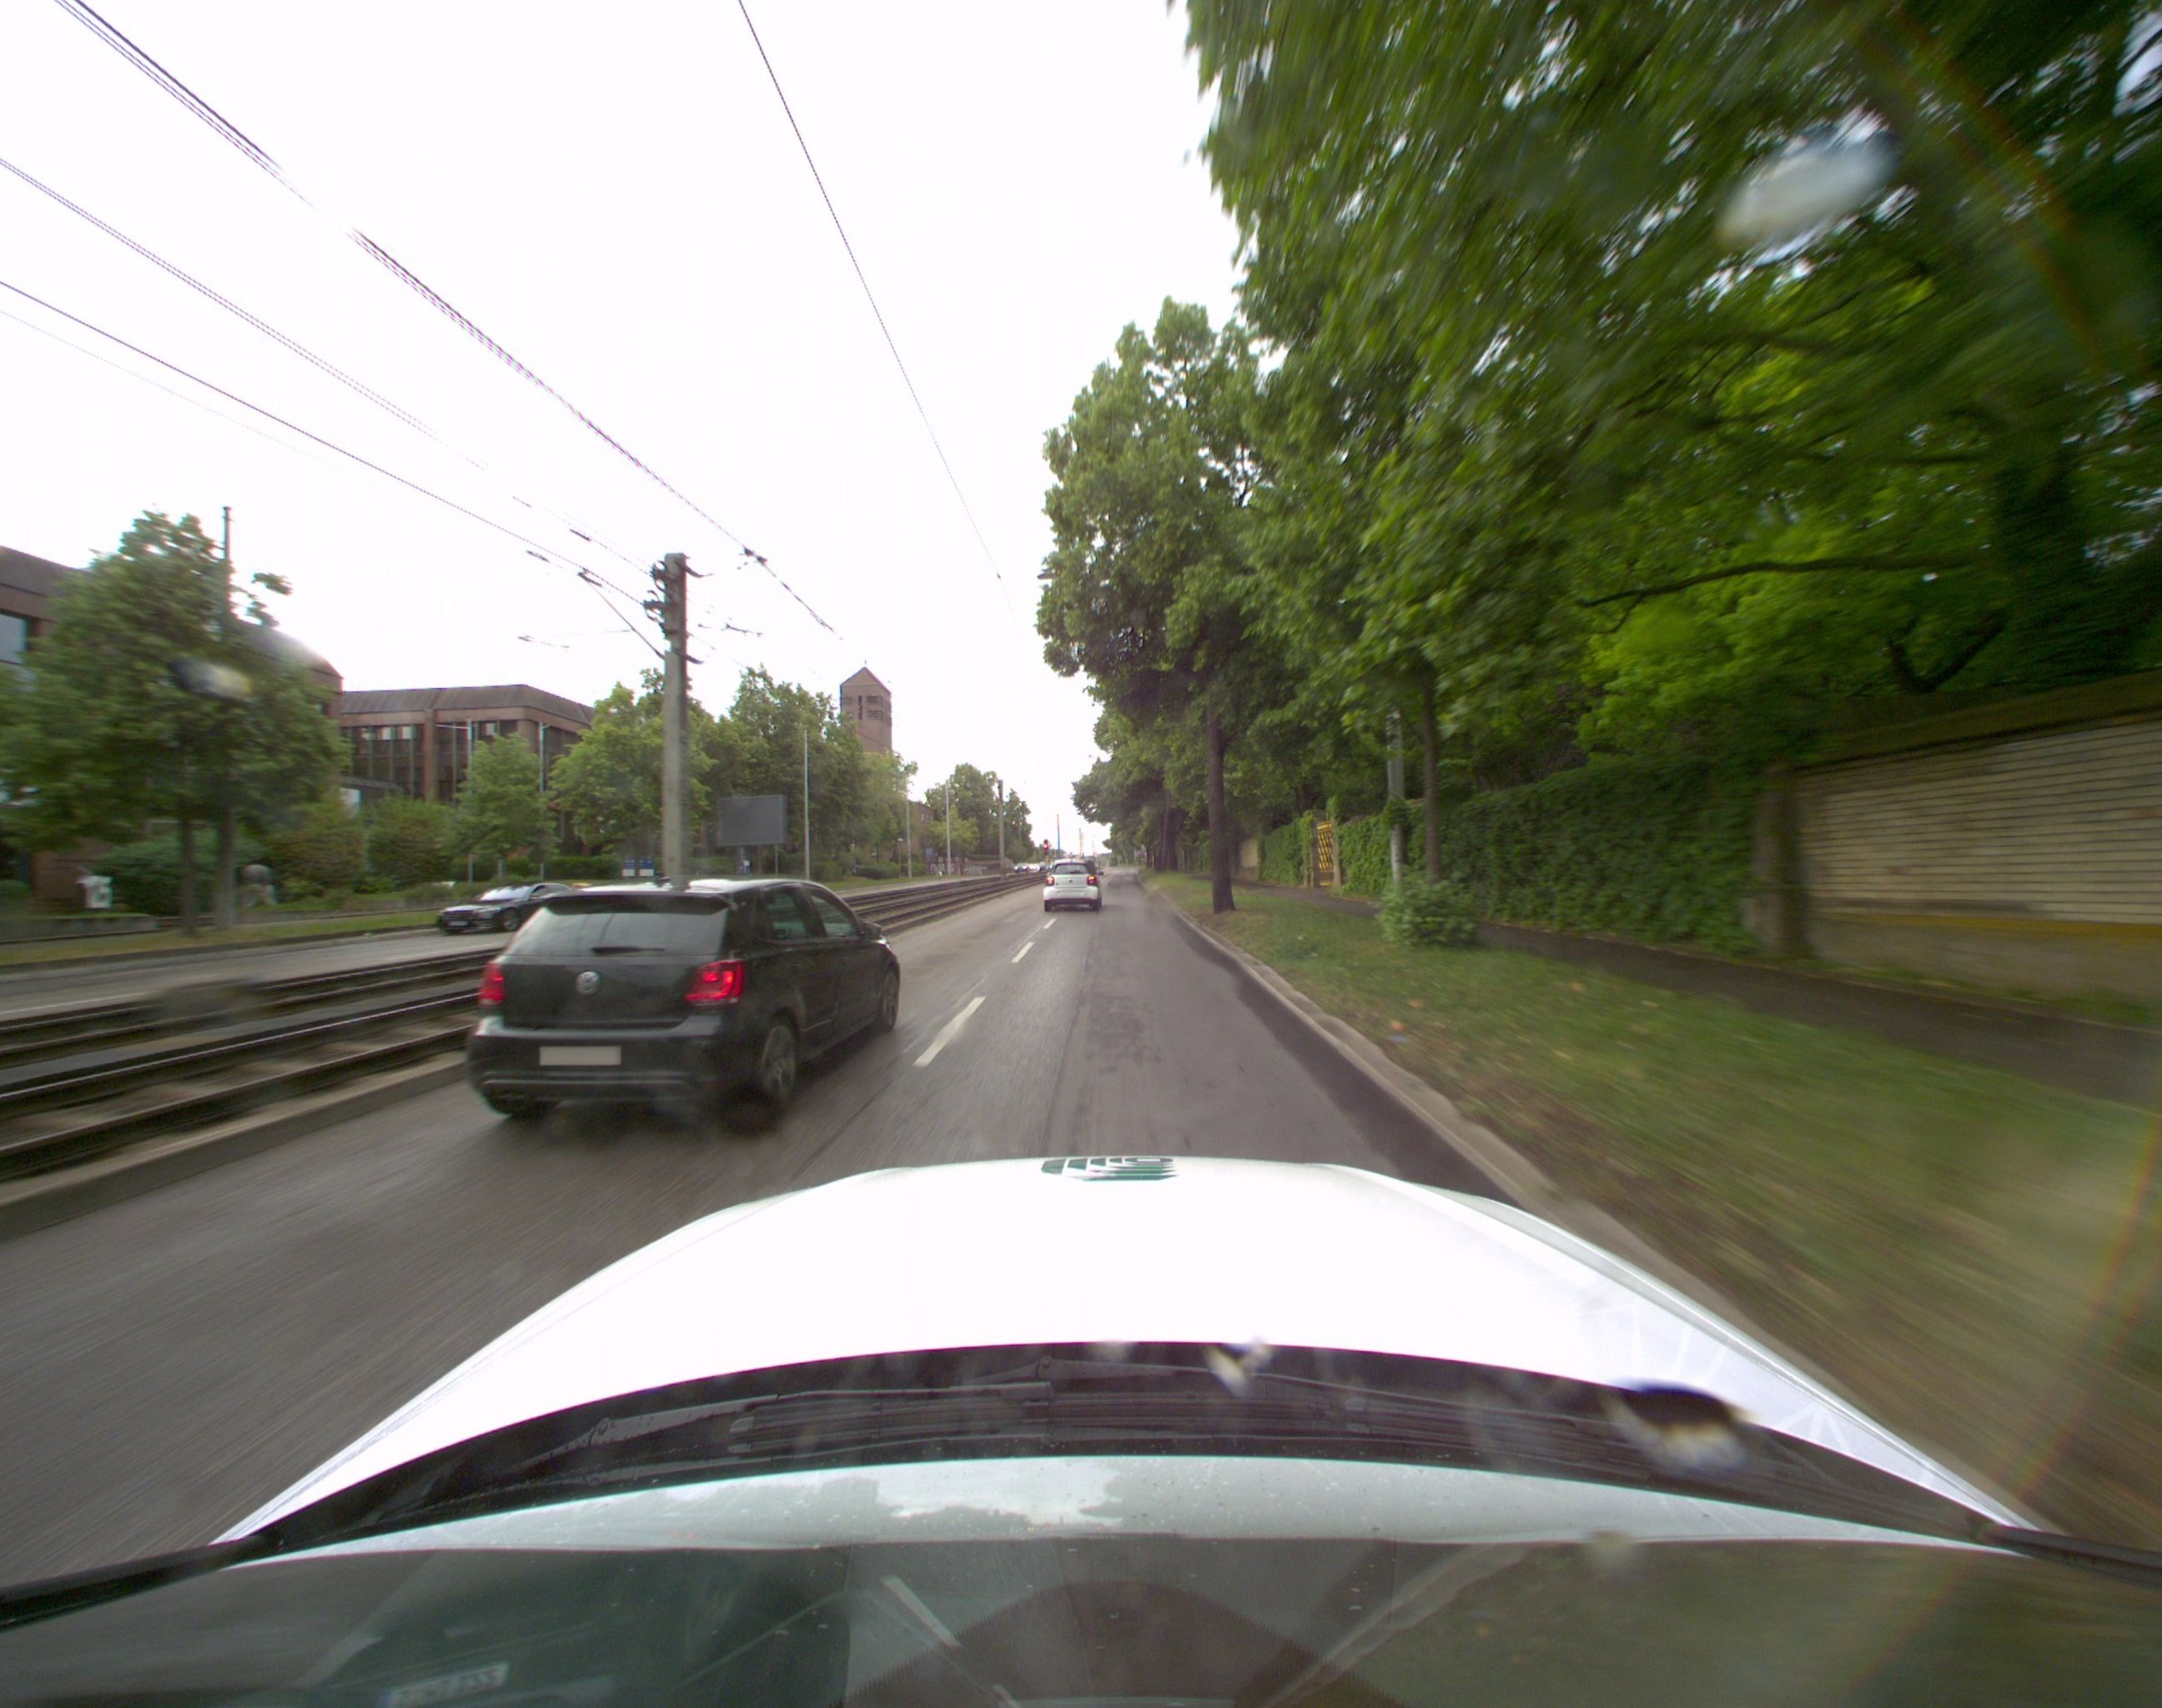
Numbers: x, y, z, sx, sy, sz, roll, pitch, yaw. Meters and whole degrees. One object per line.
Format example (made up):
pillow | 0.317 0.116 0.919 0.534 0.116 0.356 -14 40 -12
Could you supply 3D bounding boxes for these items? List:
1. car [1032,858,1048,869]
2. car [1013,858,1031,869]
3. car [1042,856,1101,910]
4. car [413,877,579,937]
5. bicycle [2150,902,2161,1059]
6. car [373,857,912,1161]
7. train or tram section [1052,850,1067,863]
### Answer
car | -6.644 1.506 132.550 1.825 1.656 4.246 -2 0 6
car | -9.399 1.504 129.045 2.003 1.656 4.624 -2 0 6
car | -0.227 0.857 25.638 1.669 1.531 3.724 -1 0 2
car | -18.151 1.592 25.581 1.788 1.530 4.622 -2 0 1
bicycle | 6.676 0.751 3.662 0.540 0.948 2.553 -2 0 5
car | -2.590 0.774 6.027 1.787 1.485 3.965 0 0 1
train or tram section | -6.184 0.824 231.860 2.833 3.605 9.236 0 0 -11
